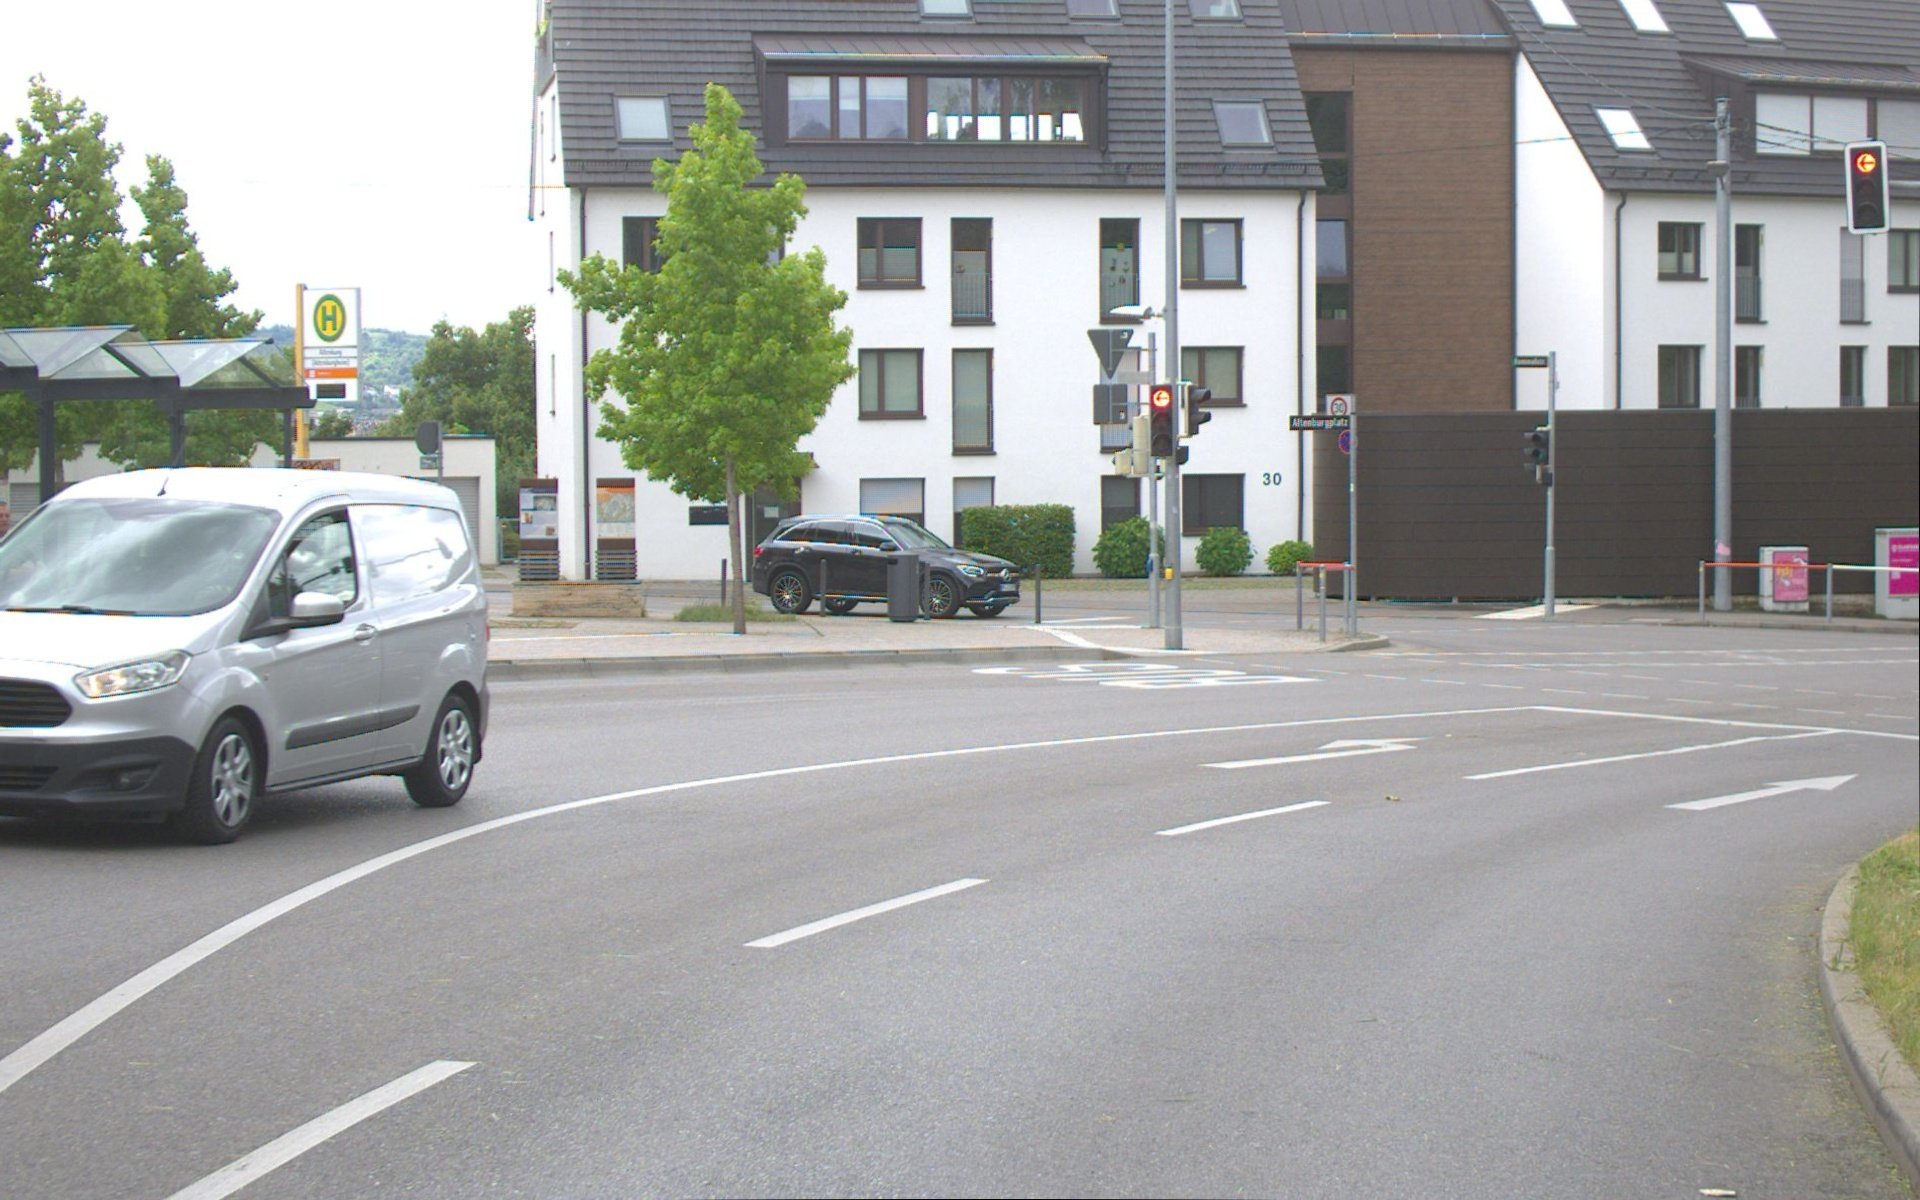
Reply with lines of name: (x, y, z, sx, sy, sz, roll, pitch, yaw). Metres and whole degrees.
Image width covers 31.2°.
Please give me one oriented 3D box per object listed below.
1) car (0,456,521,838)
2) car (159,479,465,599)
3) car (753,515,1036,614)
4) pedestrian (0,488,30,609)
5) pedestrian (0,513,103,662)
car: (-3.719, 0.169, 16.794, 1.693, 1.608, 4.080, 2, 1, 14)
car: (-11.807, -1.110, 62.728, 5.077, 2.007, 1.999, 2, 1, 13)
car: (-1.106, -0.604, 57.524, 4.266, 1.508, 1.997, 2, 1, 29)
pedestrian: (-12.643, -0.680, 45.194, 0.538, 1.572, 0.653, 2, 1, 12)
pedestrian: (-7.715, -0.110, 28.227, 0.933, 1.188, 0.904, 2, 1, 25)
